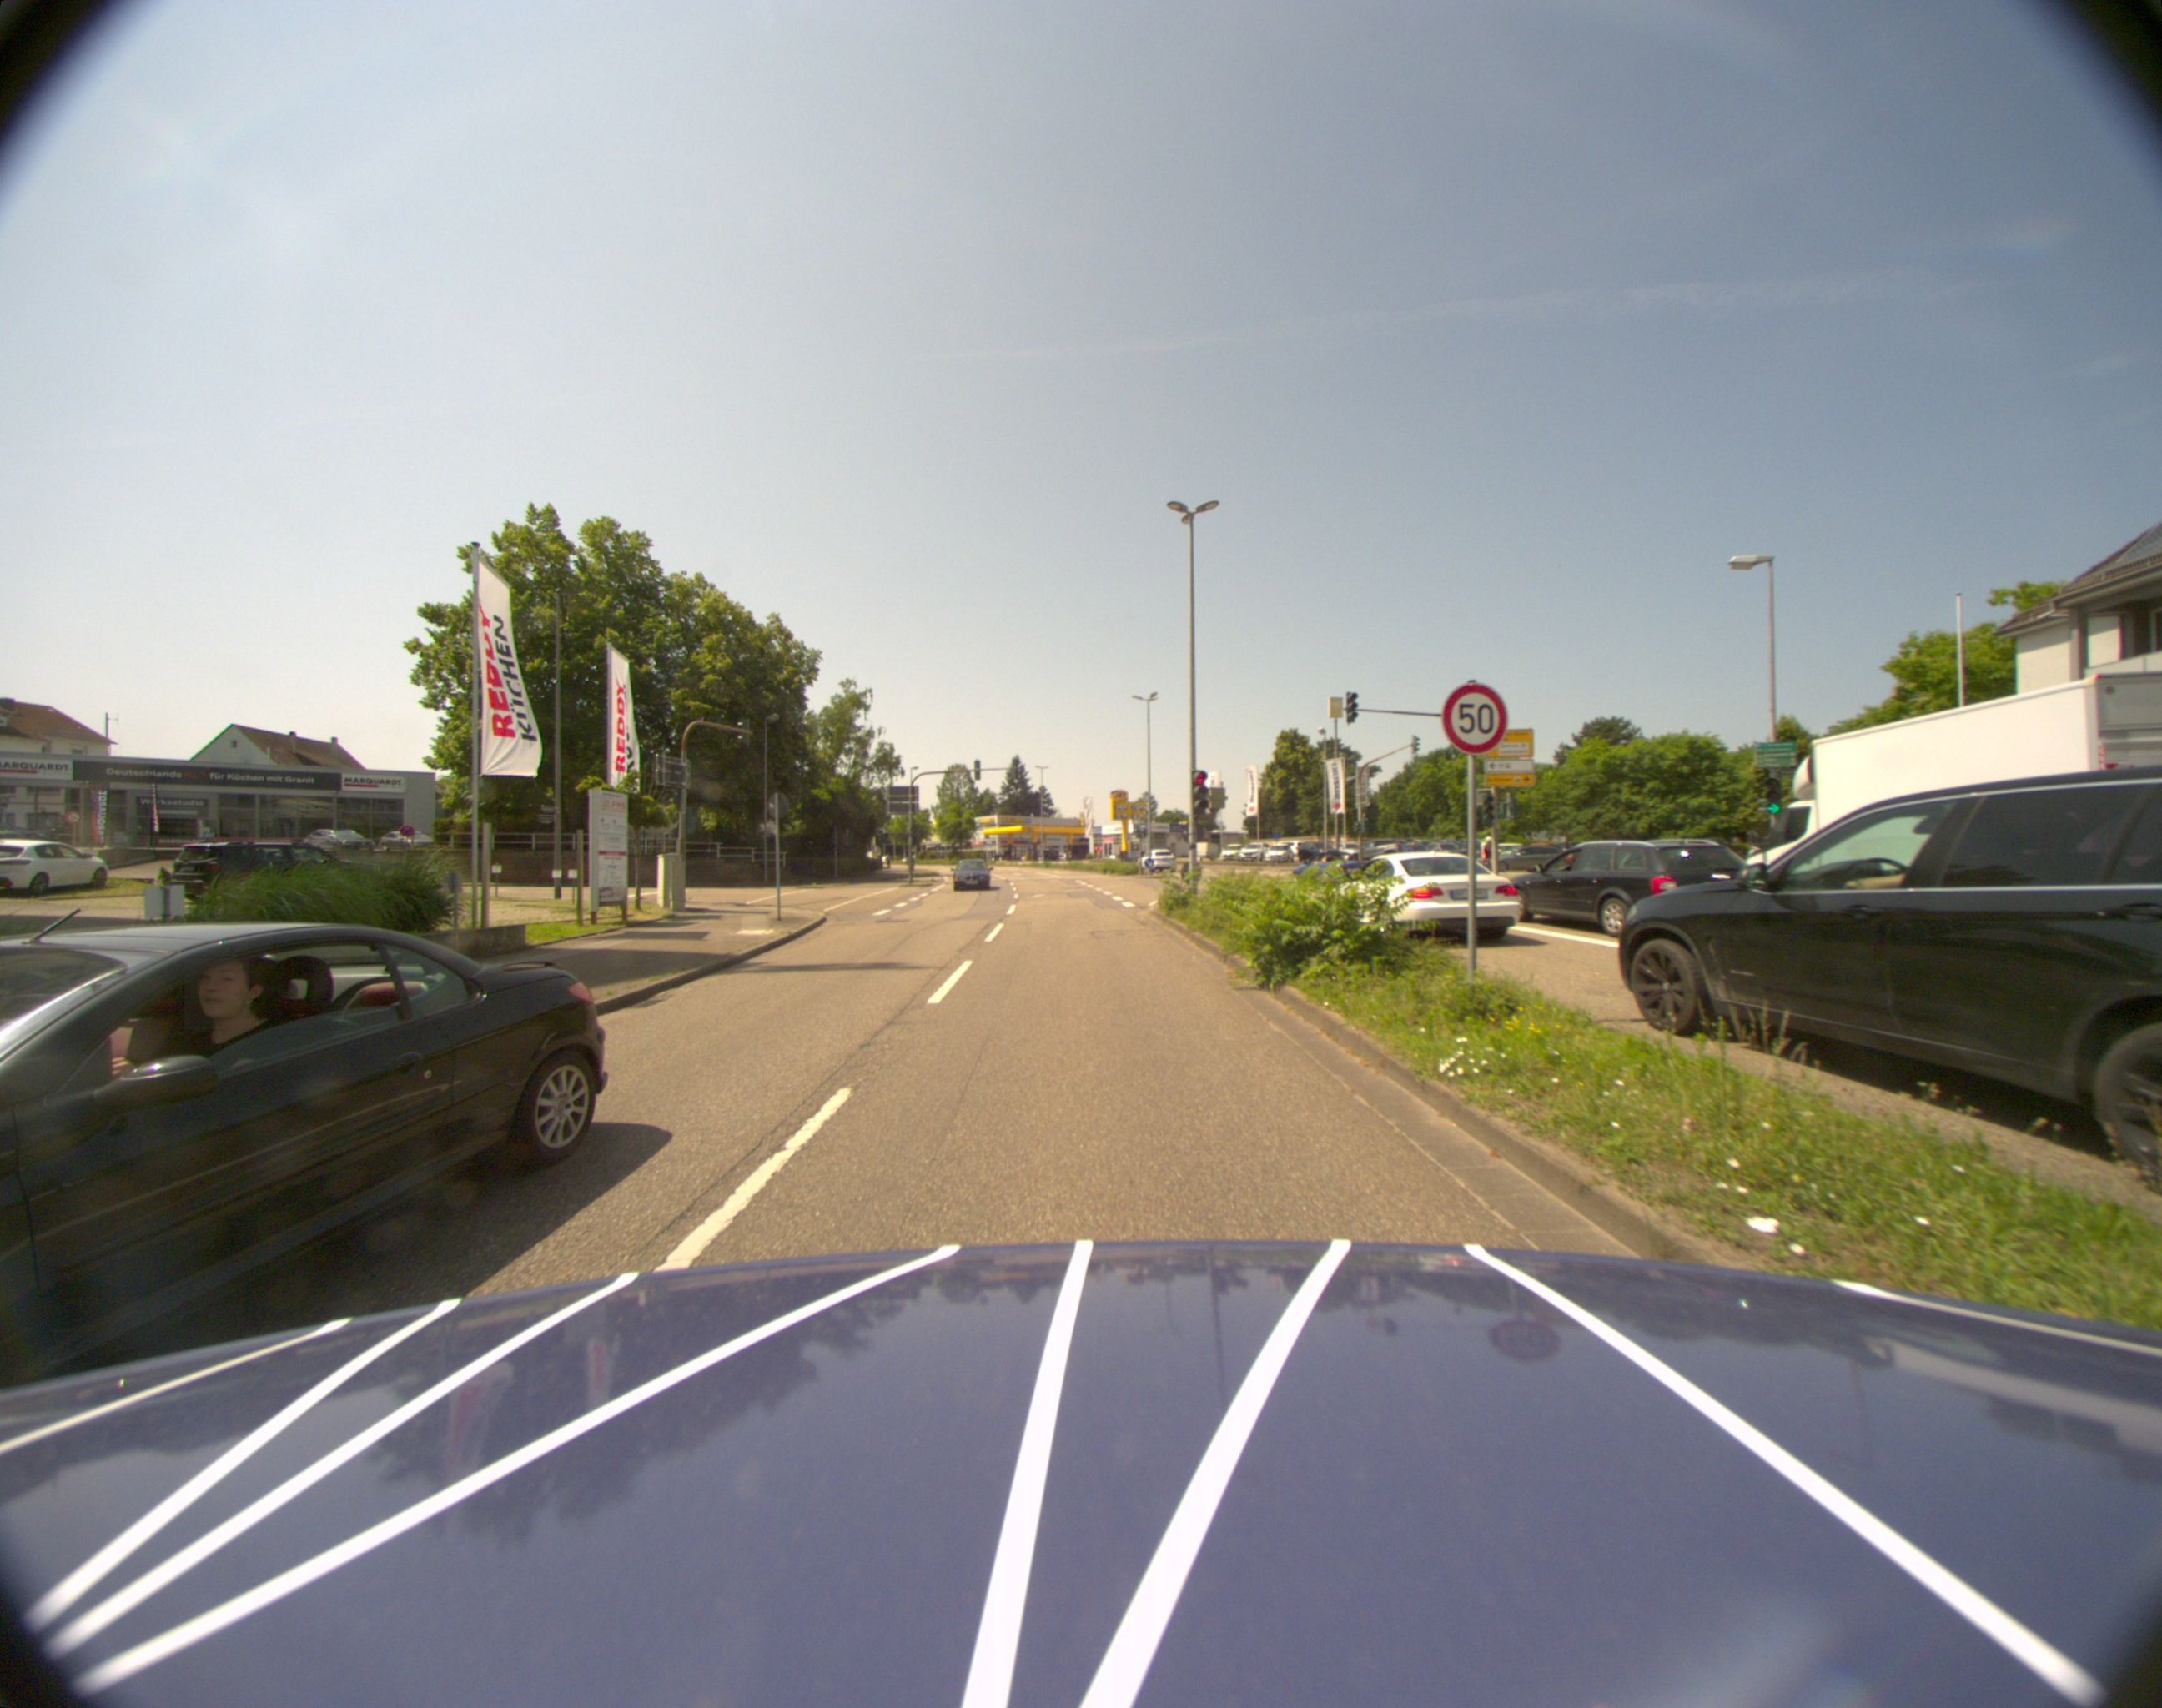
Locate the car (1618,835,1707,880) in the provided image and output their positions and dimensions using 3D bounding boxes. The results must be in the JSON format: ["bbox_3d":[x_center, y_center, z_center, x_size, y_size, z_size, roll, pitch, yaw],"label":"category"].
[{"bbox_3d":[23.711,0.160,30.938,4.604,1.647,1.993,2,3,-43],"label":"car"}]

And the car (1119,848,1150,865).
[{"bbox_3d":[4.802,0.194,68.900,2.003,1.477,4.438,0,0,-6],"label":"car"}]

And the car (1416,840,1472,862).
[{"bbox_3d":[26.938,-0.248,56.496,1.796,1.528,3.996,-2,1,-8],"label":"car"}]

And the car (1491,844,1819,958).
[{"bbox_3d":[8.658,0.593,12.106,1.806,1.431,4.576,-2,0,1],"label":"car"}]

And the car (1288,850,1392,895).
[{"bbox_3d":[8.524,0.565,25.417,1.868,1.358,4.346,-1,0,-2],"label":"car"}]

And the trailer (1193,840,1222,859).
[{"bbox_3d":[11.742,-0.449,70.578,1.689,1.694,2.439,-1,1,39],"label":"trailer"}]

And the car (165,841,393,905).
[{"bbox_3d":[-22.917,0.477,21.999,1.541,1.666,4.333,-1,1,12],"label":"car"}]

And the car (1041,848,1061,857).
[{"bbox_3d":[-4.972,-0.240,126.754,1.659,1.534,4.204,-3,1,-28],"label":"car"}]

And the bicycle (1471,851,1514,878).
[{"bbox_3d":[16.719,0.430,30.924,0.422,1.047,1.787,-2,0,-13],"label":"bicycle"}]

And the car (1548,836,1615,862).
[{"bbox_3d":[36.796,-0.381,55.960,2.000,1.740,3.996,-2,1,-8],"label":"car"}]

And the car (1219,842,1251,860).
[{"bbox_3d":[13.594,-0.277,67.032,1.753,1.501,3.826,-1,1,26],"label":"car"}]

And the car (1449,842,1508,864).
[{"bbox_3d":[29.467,-0.104,56.421,1.841,1.561,3.996,0,1,-9],"label":"car"}]

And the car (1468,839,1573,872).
[{"bbox_3d":[23.940,0.084,41.459,4.761,1.601,1.761,-2,1,-5],"label":"car"}]

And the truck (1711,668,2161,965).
[{"bbox_3d":[13.690,-0.506,12.065,2.269,3.398,7.042,-2,1,8],"label":"truck"}]

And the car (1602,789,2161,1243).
[{"bbox_3d":[5.158,0.569,3.936,1.913,1.741,4.760,-2,1,4],"label":"car"}]

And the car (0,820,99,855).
[{"bbox_3d":[-64.405,-1.017,46.998,4.008,2.001,1.995,2,-1,-37],"label":"car"}]

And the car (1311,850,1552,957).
[{"bbox_3d":[5.540,0.675,12.833,1.867,1.422,4.744,-2,0,0],"label":"car"}]

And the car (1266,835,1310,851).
[{"bbox_3d":[21.902,-1.167,80.512,1.697,1.640,4.746,-2,1,-29],"label":"car"}]

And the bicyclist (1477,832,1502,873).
[{"bbox_3d":[16.658,-0.052,30.994,0.422,1.633,0.820,-2,0,-13],"label":"bicyclist"}]

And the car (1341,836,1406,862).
[{"bbox_3d":[21.772,-0.393,56.531,4.298,1.891,1.832,1,2,28],"label":"car"}]

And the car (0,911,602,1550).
[{"bbox_3d":[-3.493,1.036,2.418,1.604,1.416,3.661,-1,0,0],"label":"car"}]

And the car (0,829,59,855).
[{"bbox_3d":[-63.348,-0.711,44.222,4.185,1.447,1.995,2,-1,-37],"label":"car"}]

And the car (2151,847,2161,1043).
[{"bbox_3d":[8.287,0.636,3.143,1.902,1.353,4.198,-1,1,3],"label":"car"}]

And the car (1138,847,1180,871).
[{"bbox_3d":[5.553,0.319,54.424,1.823,1.561,4.552,-3,1,-9],"label":"car"}]

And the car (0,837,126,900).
[{"bbox_3d":[-29.410,0.349,21.453,1.546,1.524,4.213,0,2,-30],"label":"car"}]

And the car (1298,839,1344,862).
[{"bbox_3d":[18.797,-0.327,59.686,1.846,1.714,4.010,-1,2,-9],"label":"car"}]

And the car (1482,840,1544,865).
[{"bbox_3d":[31.815,-0.111,56.109,1.907,1.697,3.996,-2,1,-8],"label":"car"}]

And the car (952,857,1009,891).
[{"bbox_3d":[-4.527,0.865,34.793,1.697,1.365,4.001,0,1,5],"label":"car"}]

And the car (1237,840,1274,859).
[{"bbox_3d":[14.916,-0.389,64.764,1.913,1.532,3.969,-1,1,31],"label":"car"}]

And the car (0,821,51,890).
[{"bbox_3d":[-32.436,0.076,21.466,1.894,2.025,5.180,-4,1,-30],"label":"car"}]

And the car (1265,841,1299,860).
[{"bbox_3d":[16.555,-0.339,62.374,1.711,1.424,3.969,0,2,30],"label":"car"}]
